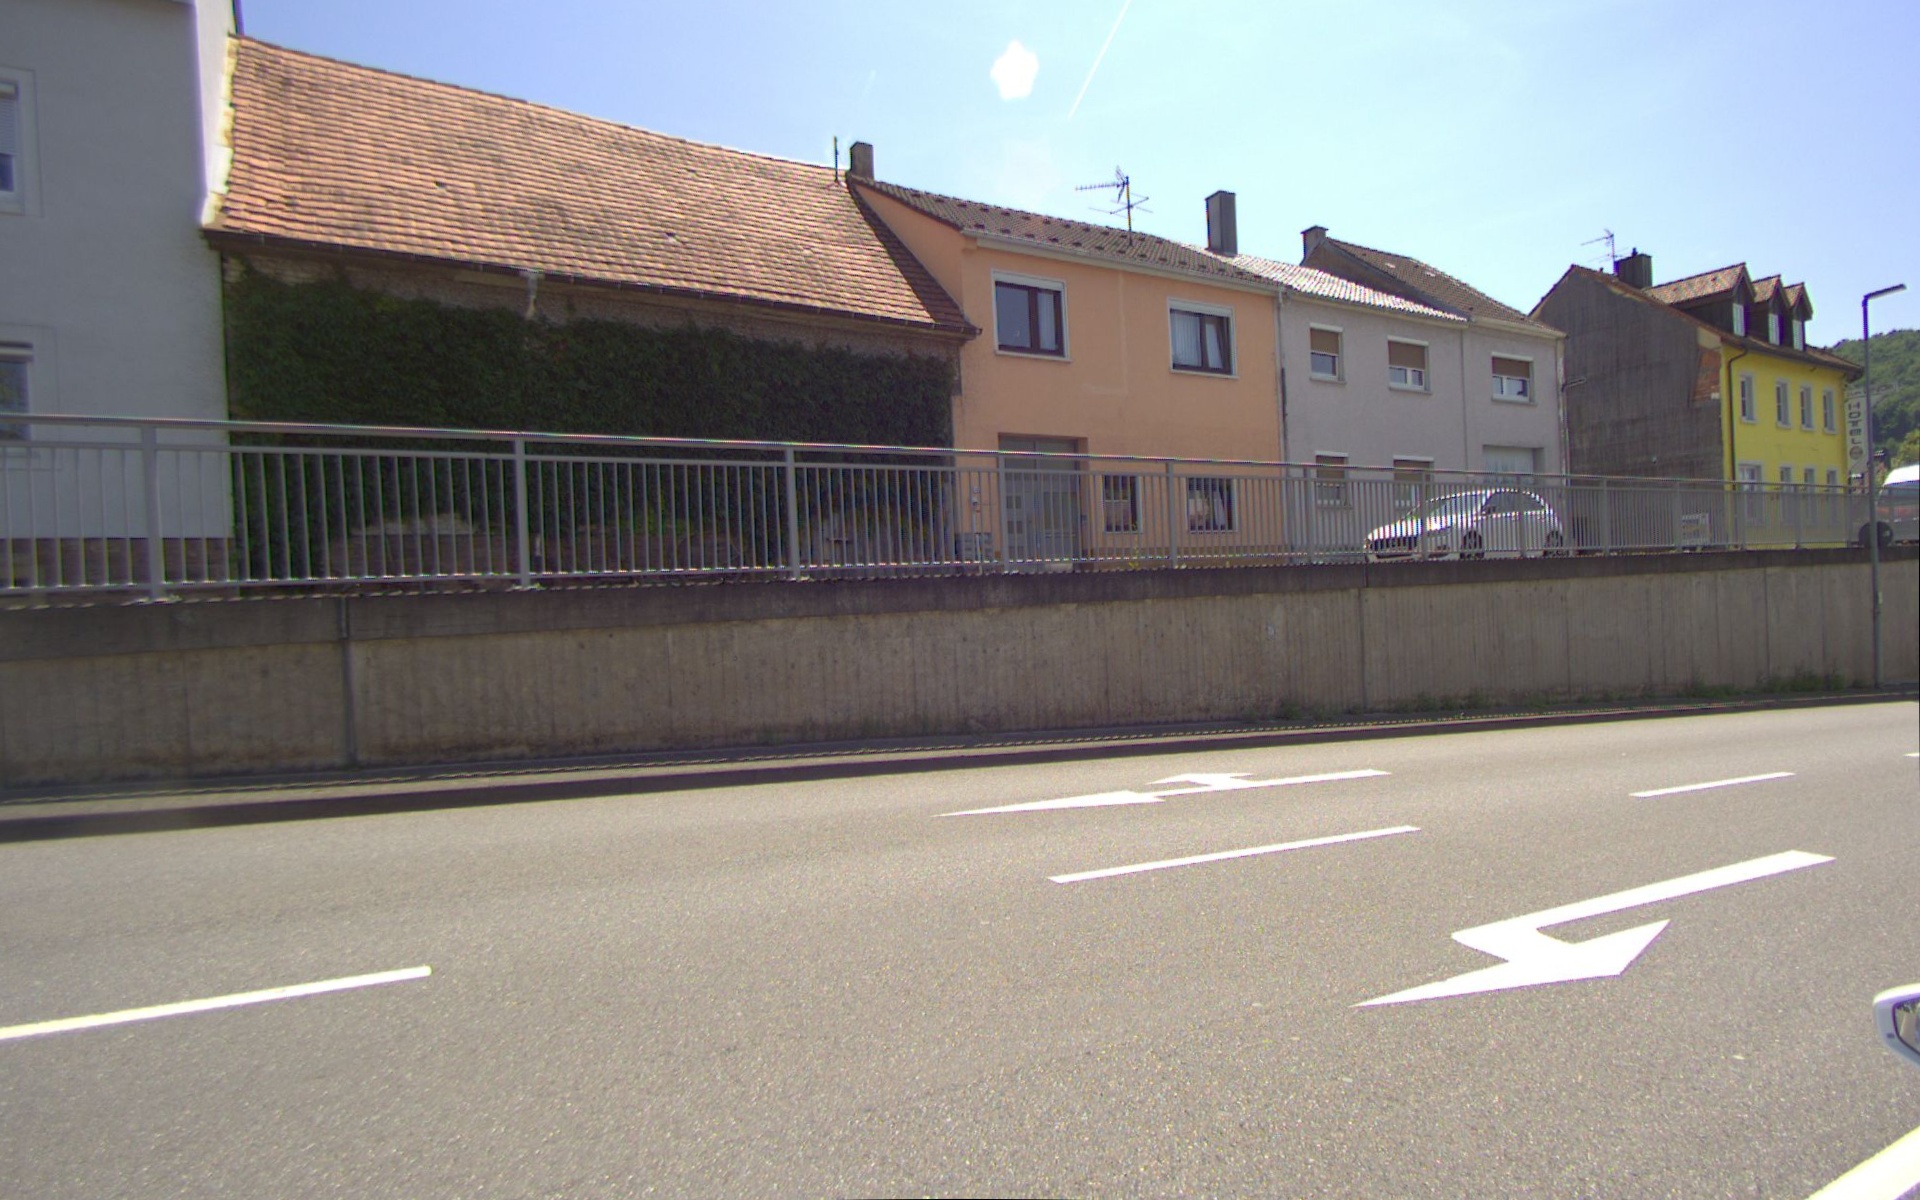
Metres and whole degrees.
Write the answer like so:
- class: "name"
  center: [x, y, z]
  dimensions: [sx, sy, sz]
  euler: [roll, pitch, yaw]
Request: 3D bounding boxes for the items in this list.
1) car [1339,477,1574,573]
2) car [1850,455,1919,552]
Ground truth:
- class: "car"
  center: [8.854, -1.294, 17.818]
  dimensions: [4.261, 1.482, 1.803]
  euler: [-3, 2, -32]
- class: "car"
  center: [28.097, -2.734, 28.873]
  dimensions: [5.591, 2.571, 2.056]
  euler: [-2, 2, -29]
